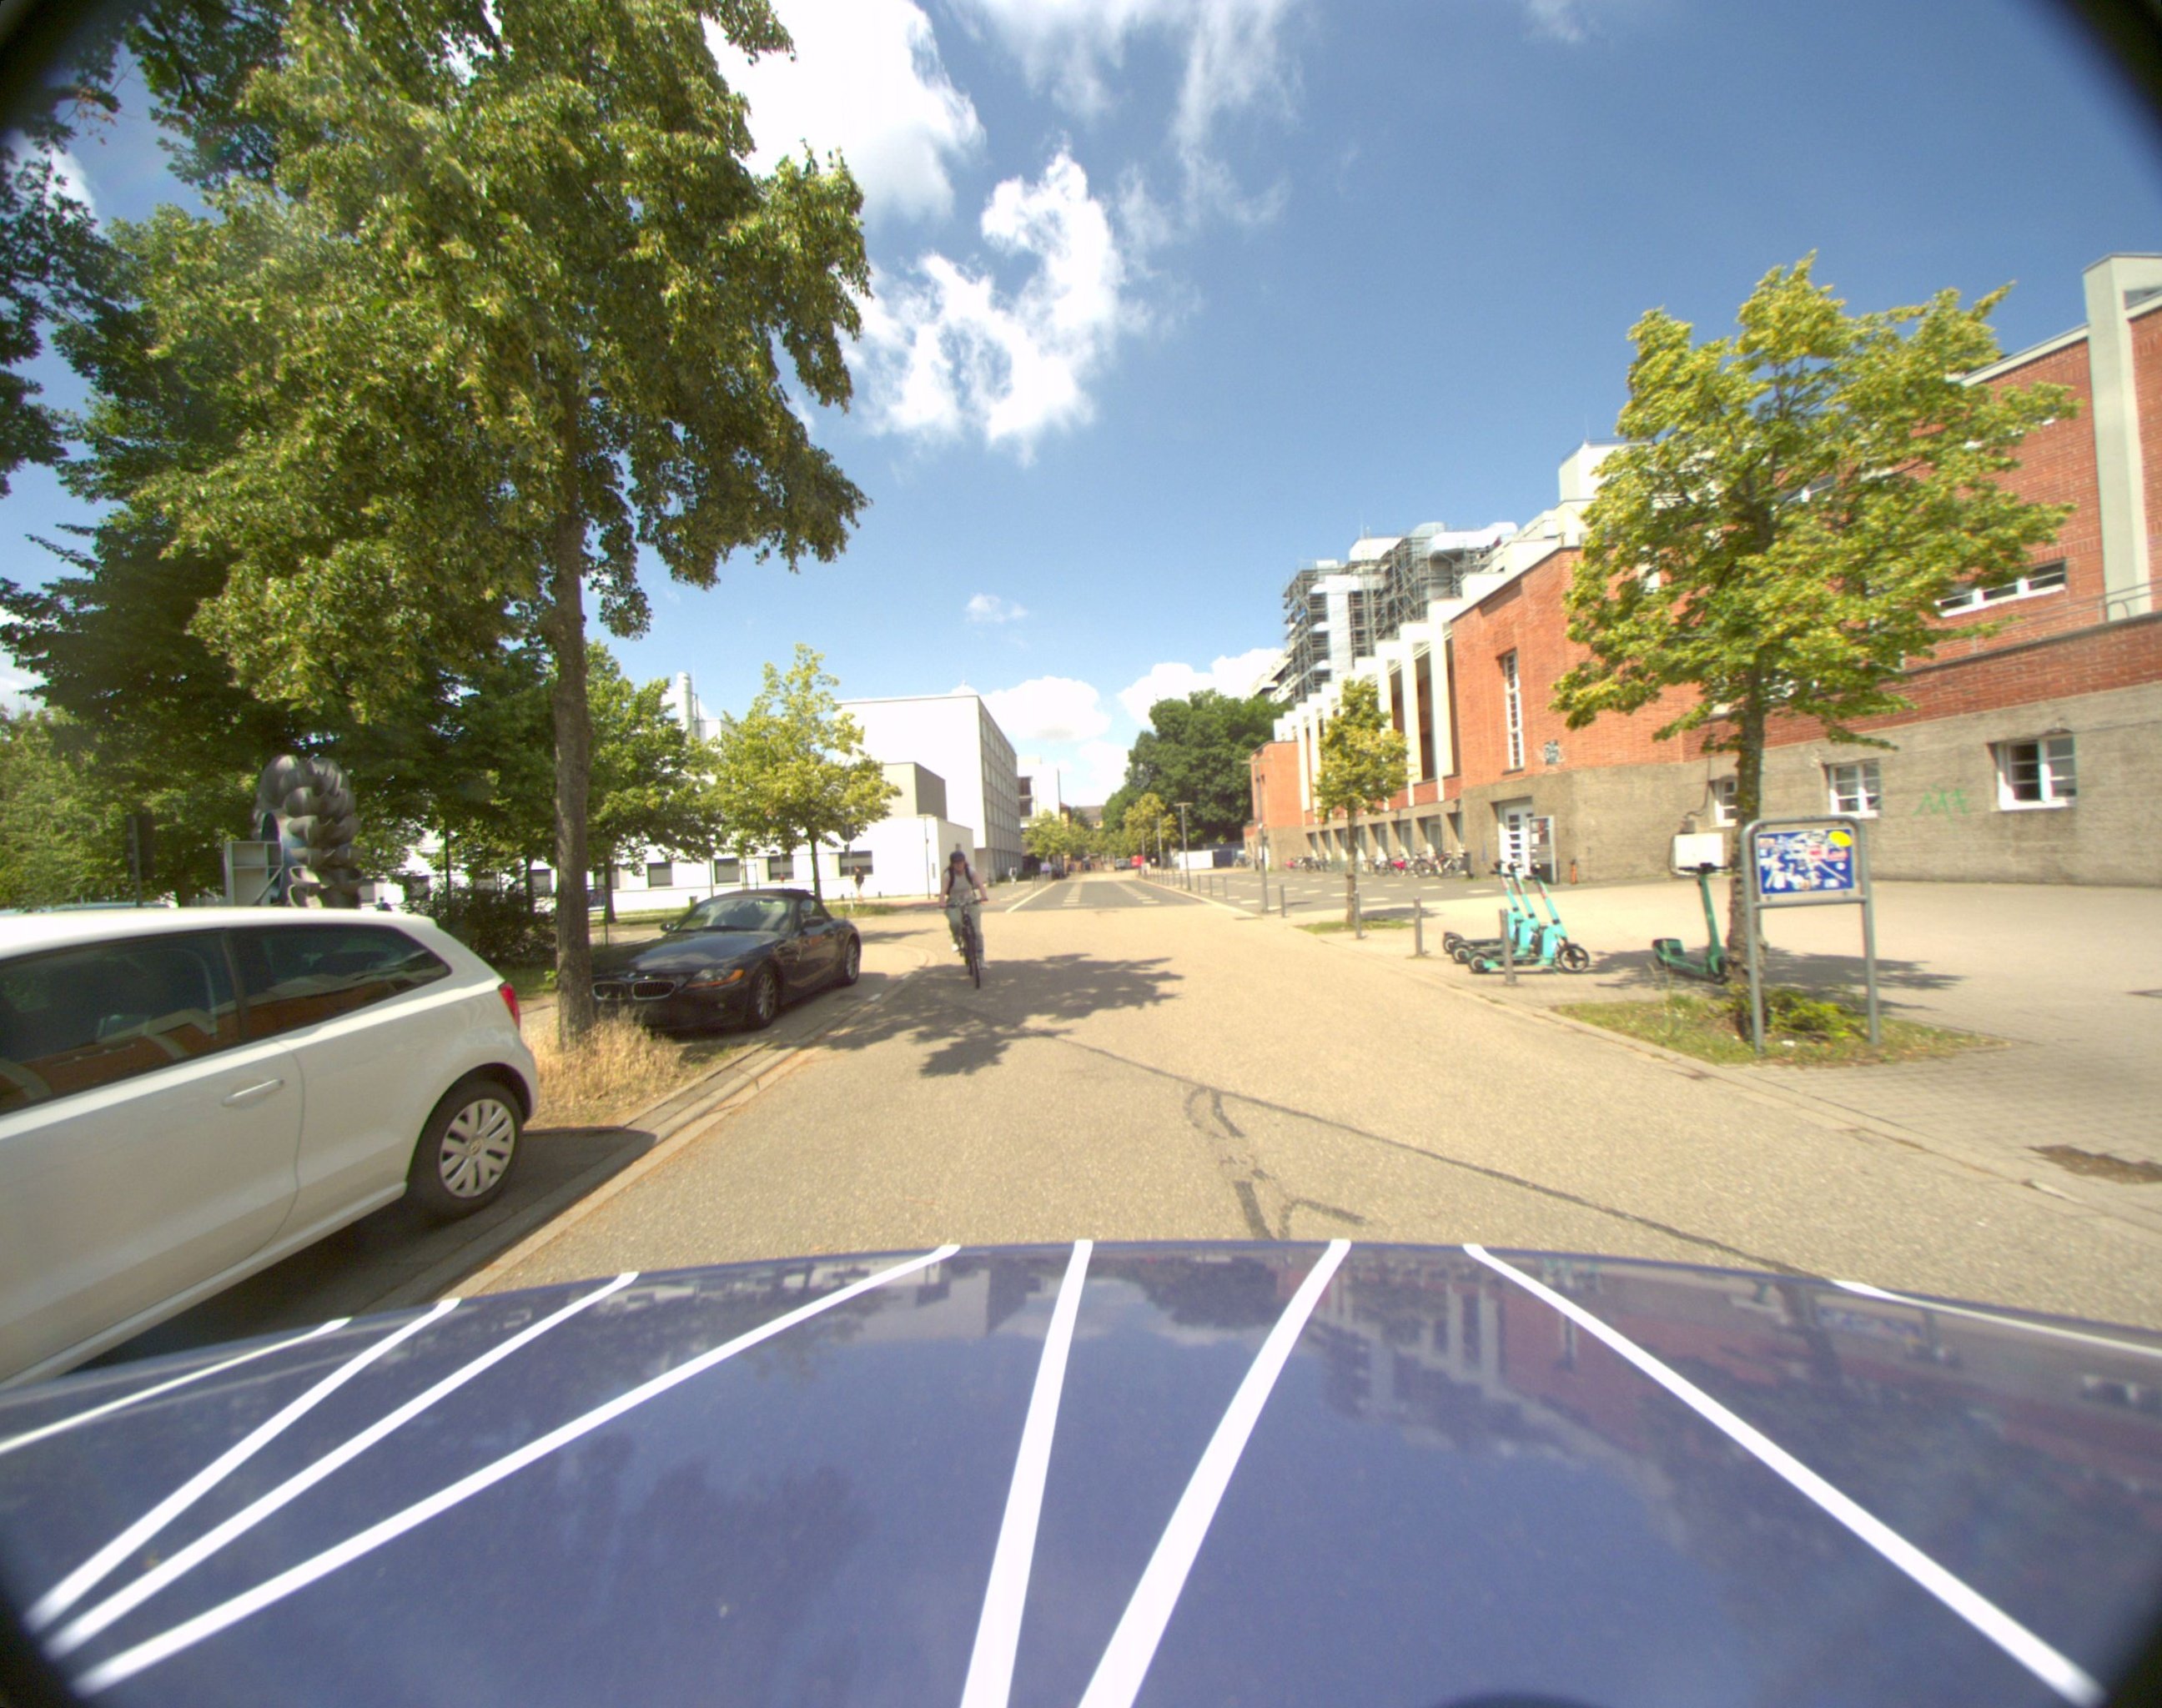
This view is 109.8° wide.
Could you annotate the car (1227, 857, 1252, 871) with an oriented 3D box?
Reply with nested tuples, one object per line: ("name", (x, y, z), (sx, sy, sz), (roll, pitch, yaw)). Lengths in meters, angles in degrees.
("car", (15.209, 0.962, 72.884), (2.288, 1.173, 0.524), (-3, 0, 2))

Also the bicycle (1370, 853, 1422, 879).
("bicycle", (14.090, 0.550, 34.015), (2.027, 1.055, 0.663), (-3, 0, -1))

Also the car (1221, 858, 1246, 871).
("car", (15.122, 1.004, 75.340), (2.324, 1.173, 0.479), (-3, 0, 2))

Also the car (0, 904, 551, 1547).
("car", (-3.496, 1.019, 1.879), (1.591, 1.458, 3.988), (-3, 0, -2))

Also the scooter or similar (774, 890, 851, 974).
("scooter or similar", (-4.443, 1.264, 12.679), (0.554, 1.246, 1.383), (-3, 0, 9))

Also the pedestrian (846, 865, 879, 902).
("pedestrian", (-10.845, 1.452, 37.720), (1.168, 1.789, 1.023), (-1, -1, 29))

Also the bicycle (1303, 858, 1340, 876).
("bicycle", (14.205, 0.752, 44.893), (1.955, 0.935, 0.569), (-3, 0, -1))

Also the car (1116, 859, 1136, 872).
("car", (7.768, 2.043, 130.893), (2.023, 2.079, 4.439), (-4, -1, 21))

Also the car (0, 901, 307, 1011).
("car", (-18.509, 1.894, 15.042), (1.894, 1.642, 4.363), (-3, -1, -1))

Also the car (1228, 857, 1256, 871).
("car", (15.091, 0.934, 71.144), (2.368, 1.173, 0.794), (-3, 0, 2))

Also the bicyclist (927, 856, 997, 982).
("bicyclist", (-1.506, 0.794, 9.769), (0.675, 1.470, 1.062), (-3, 1, -1))

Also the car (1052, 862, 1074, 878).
("car", (-2.004, 1.781, 83.809), (1.939, 1.671, 3.471), (-3, -1, 5))

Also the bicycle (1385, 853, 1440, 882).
("bicycle", (14.076, 0.572, 32.251), (2.015, 1.076, 0.622), (-3, 0, -1))

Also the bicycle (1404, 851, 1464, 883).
("bicycle", (13.840, 0.511, 29.818), (2.026, 1.119, 0.592), (-3, 0, 1))

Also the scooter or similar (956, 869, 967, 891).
("scooter or similar", (-6.919, 1.519, 44.065), (0.327, 1.228, 1.074), (-3, 0, 3))

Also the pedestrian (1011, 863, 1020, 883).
("pedestrian", (-4.909, 1.427, 56.799), (0.525, 1.430, 0.701), (-3, 0, 3))

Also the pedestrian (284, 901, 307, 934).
("pedestrian", (-40.770, 3.282, 39.433), (0.713, 1.647, 0.728), (-3, 0, 41))

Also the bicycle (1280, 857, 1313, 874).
("bicycle", (14.102, 0.729, 49.811), (1.955, 1.024, 0.542), (-3, 0, -1))

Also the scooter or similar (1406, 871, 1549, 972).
("scooter or similar", (5.163, 0.876, 9.966), (1.571, 1.217, 0.571), (-3, 0, 28))

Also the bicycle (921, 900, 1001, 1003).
("bicycle", (-1.514, 1.203, 9.969), (0.675, 1.066, 2.136), (-3, 0, 0))

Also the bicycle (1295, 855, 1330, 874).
("bicycle", (14.121, 0.650, 46.394), (1.955, 1.024, 0.530), (-3, 0, -1))

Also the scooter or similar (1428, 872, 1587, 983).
("scooter or similar", (5.067, 0.870, 9.116), (1.571, 1.217, 0.566), (-3, 0, 28))

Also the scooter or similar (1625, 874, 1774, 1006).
("scooter or similar", (6.077, 0.801, 7.554), (0.564, 1.142, 1.351), (-3, 0, 12))

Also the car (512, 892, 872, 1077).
("car", (-3.770, 1.185, 8.280), (1.712, 1.272, 4.001), (-3, 0, 2))

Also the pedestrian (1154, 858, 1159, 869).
("pedestrian", (10.797, 1.362, 108.953), (0.642, 1.529, 0.453), (-3, 0, 12))

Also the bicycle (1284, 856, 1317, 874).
("bicycle", (14.124, 0.725, 48.865), (1.955, 1.024, 0.518), (-3, 0, -1))

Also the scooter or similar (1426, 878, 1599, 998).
("scooter or similar", (4.746, 0.913, 8.441), (1.571, 1.217, 0.525), (-3, 0, 28))

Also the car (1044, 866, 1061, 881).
("car", (-2.775, 1.892, 75.517), (1.552, 1.377, 3.454), (-3, -1, -1))

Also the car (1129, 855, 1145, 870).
("car", (7.715, 1.200, 104.383), (1.912, 1.870, 4.003), (-3, -1, 7))

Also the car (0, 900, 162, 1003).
("car", (-21.253, 1.946, 14.777), (1.823, 1.827, 4.000), (-3, 0, -1))

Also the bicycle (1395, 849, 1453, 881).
("bicycle", (13.858, 0.457, 30.700), (2.026, 1.119, 0.439), (-5, 0, 4))

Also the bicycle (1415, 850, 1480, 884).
("bicycle", (13.485, 0.475, 28.007), (2.027, 1.119, 0.667), (-3, 0, -1))

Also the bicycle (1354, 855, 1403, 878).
("bicycle", (14.005, 0.601, 35.799), (1.955, 0.954, 0.685), (-3, 0, -1))
